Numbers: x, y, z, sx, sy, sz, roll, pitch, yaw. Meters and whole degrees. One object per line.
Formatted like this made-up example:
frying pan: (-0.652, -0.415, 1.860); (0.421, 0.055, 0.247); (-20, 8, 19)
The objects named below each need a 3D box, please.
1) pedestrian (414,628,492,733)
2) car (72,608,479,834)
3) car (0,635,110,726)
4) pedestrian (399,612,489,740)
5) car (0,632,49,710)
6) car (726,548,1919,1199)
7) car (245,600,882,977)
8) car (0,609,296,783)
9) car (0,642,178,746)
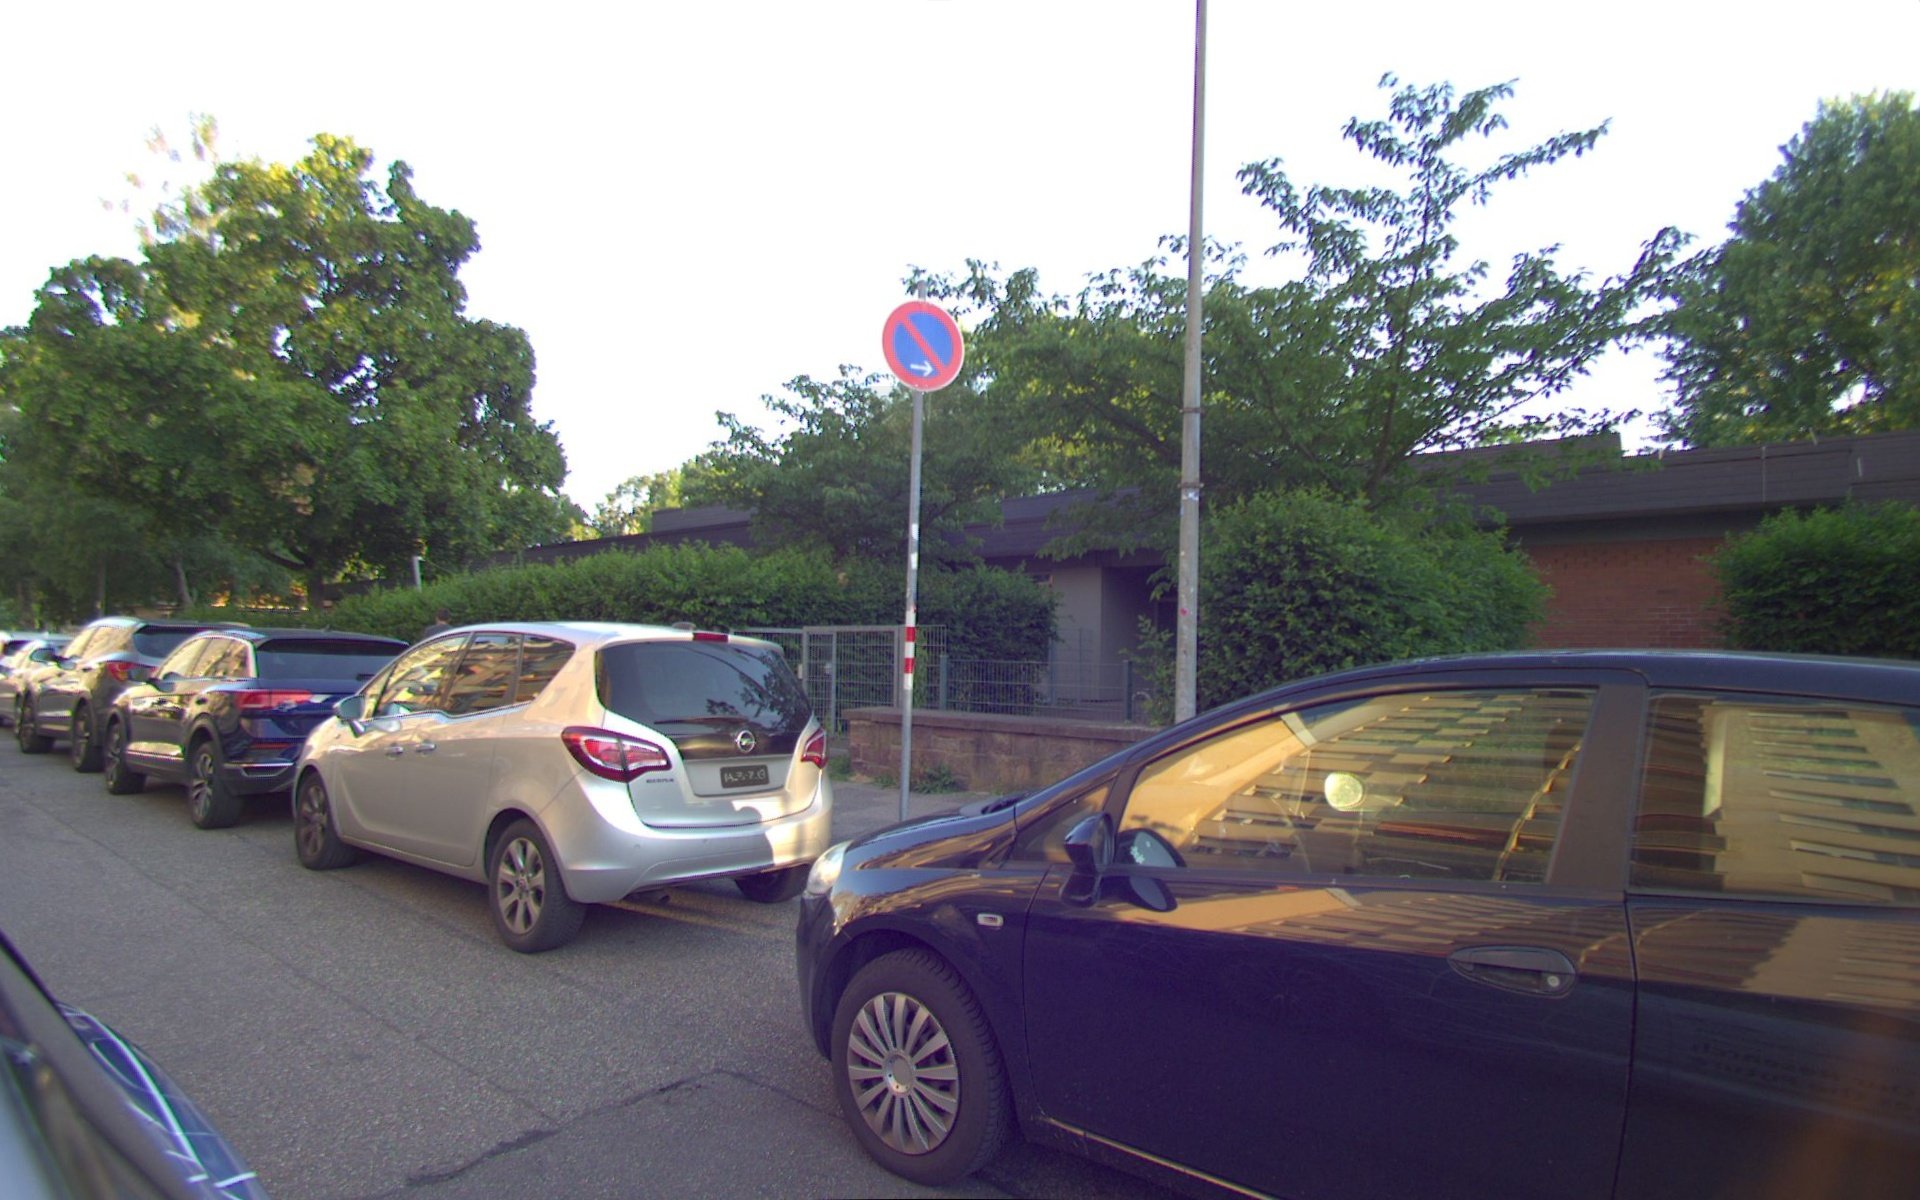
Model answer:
pedestrian: (-7.772, 1.213, 15.523); (0.900, 1.519, 0.741); (-2, -1, 38)
car: (-6.226, 0.956, 9.045); (4.160, 1.579, 1.717); (-2, -5, 37)
car: (-17.814, 1.474, 19.115); (4.273, 1.555, 1.742); (-2, -5, 37)
pedestrian: (-7.395, 1.059, 14.509); (0.749, 1.745, 0.890); (-2, -1, 38)
car: (-21.891, 1.560, 22.621); (3.978, 1.644, 1.715); (-2, -5, 41)
car: (1.294, 0.790, 2.614); (3.691, 1.579, 1.717); (-2, -5, 37)
car: (-2.600, 0.903, 6.226); (4.123, 1.579, 1.717); (-2, -5, 37)
car: (-9.868, 1.079, 12.197); (4.316, 1.744, 1.717); (-2, -5, 37)
car: (-14.140, 1.417, 15.992); (4.280, 1.438, 1.717); (-2, -5, 37)
